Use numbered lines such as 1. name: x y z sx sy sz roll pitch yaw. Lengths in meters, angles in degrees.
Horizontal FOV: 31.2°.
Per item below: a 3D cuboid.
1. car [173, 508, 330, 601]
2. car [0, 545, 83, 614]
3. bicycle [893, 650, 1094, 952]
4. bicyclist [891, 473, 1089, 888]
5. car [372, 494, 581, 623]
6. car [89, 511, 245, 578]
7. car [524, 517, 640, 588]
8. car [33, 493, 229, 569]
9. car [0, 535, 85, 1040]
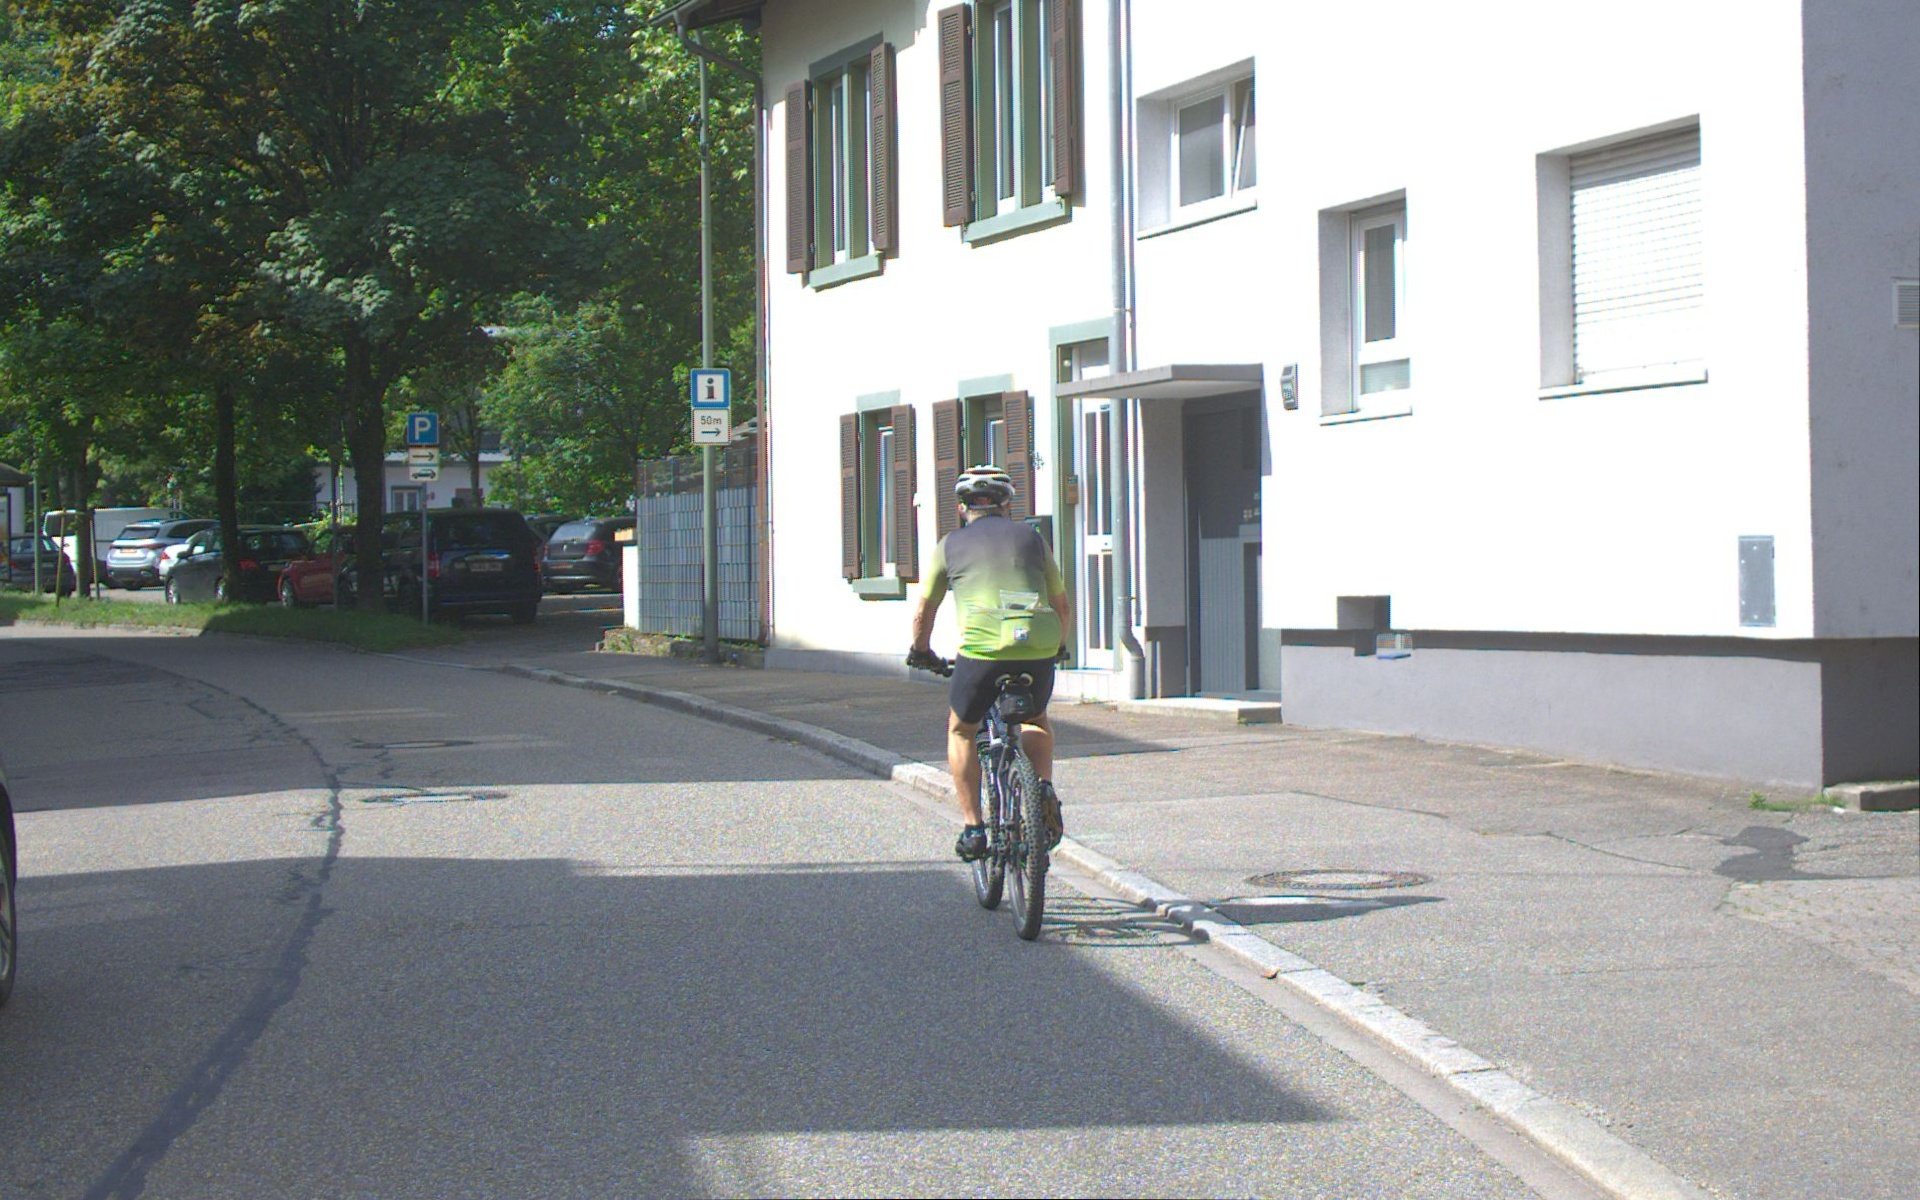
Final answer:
1. car: -12.850 -0.851 62.191 1.708 1.537 4.001 -2 3 -28
2. car: -20.660 -0.463 75.038 1.673 1.463 3.409 -1 1 -39
3. bicycle: 0.105 0.735 13.125 0.698 1.032 1.471 1 1 -2
4. bicyclist: 0.104 0.294 13.125 0.685 1.526 0.716 -1 0 -2
5. car: -7.283 -0.666 51.473 1.822 1.785 4.001 -2 3 -28
6. car: -18.902 -1.333 82.109 1.811 1.546 3.997 0 1 18
7. car: -7.154 -0.899 64.830 1.582 1.253 3.859 -2 1 -15
8. car: -20.669 -1.719 85.875 1.997 1.848 4.692 0 1 32
9. car: -3.840 0.650 9.724 1.823 1.532 4.001 -3 2 -3
